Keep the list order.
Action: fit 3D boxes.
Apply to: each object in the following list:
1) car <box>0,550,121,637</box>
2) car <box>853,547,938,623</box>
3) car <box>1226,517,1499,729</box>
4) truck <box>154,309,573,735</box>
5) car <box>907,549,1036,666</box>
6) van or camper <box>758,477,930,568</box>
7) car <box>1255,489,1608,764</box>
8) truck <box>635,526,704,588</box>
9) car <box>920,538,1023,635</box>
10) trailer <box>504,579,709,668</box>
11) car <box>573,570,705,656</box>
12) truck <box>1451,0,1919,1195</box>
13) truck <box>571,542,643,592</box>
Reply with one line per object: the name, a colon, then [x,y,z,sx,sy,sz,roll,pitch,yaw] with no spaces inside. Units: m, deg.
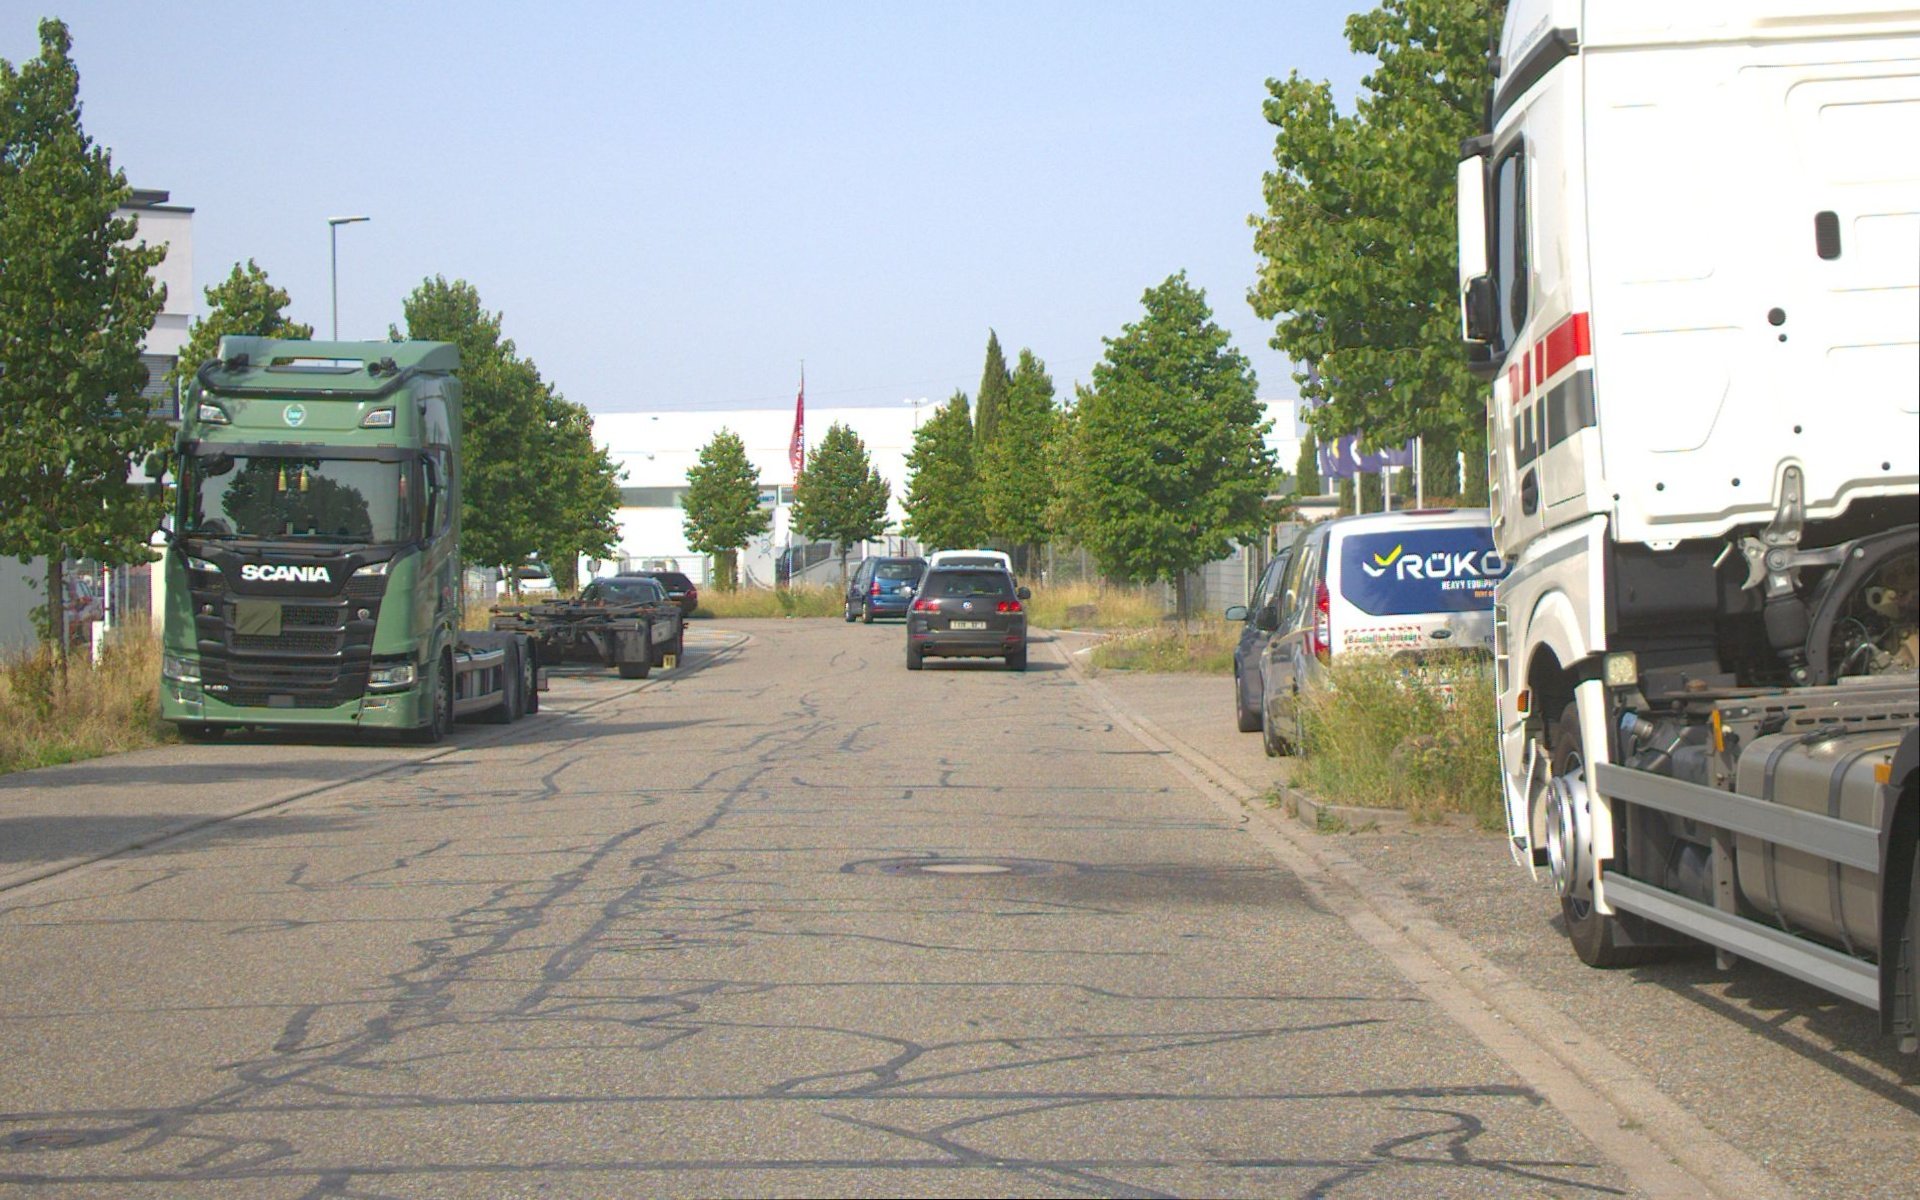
car: [-17.461,-0.155,66.447,1.770,1.520,4.305,-1,2,-5]
car: [-1.567,-0.386,84.942,1.993,1.798,4.000,1,1,0]
car: [3.450,0.192,30.193,1.826,1.714,4.249,-1,0,-1]
truck: [-6.007,-0.722,36.341,2.455,3.868,9.802,1,0,1]
car: [0.187,0.085,55.710,1.993,1.798,4.000,1,1,0]
van or camper: [-3.846,-2.500,112.386,2.349,2.838,7.342,-1,0,-31]
car: [3.279,0.176,24.765,1.993,1.783,4.599,-1,0,1]
truck: [-13.685,-2.051,162.572,2.450,2.817,8.002,0,1,1]
car: [0.204,-0.304,70.303,1.993,1.893,4.468,-1,1,-1]
trailer: [-5.670,0.339,56.190,2.130,1.228,7.156,1,1,4]
car: [-5.964,0.215,64.308,1.993,1.461,4.432,1,1,1]
truck: [3.414,-0.752,8.665,2.745,4.001,9.687,-3,1,0]
truck: [-16.666,-1.592,162.653,2.450,2.257,8.002,0,1,1]
